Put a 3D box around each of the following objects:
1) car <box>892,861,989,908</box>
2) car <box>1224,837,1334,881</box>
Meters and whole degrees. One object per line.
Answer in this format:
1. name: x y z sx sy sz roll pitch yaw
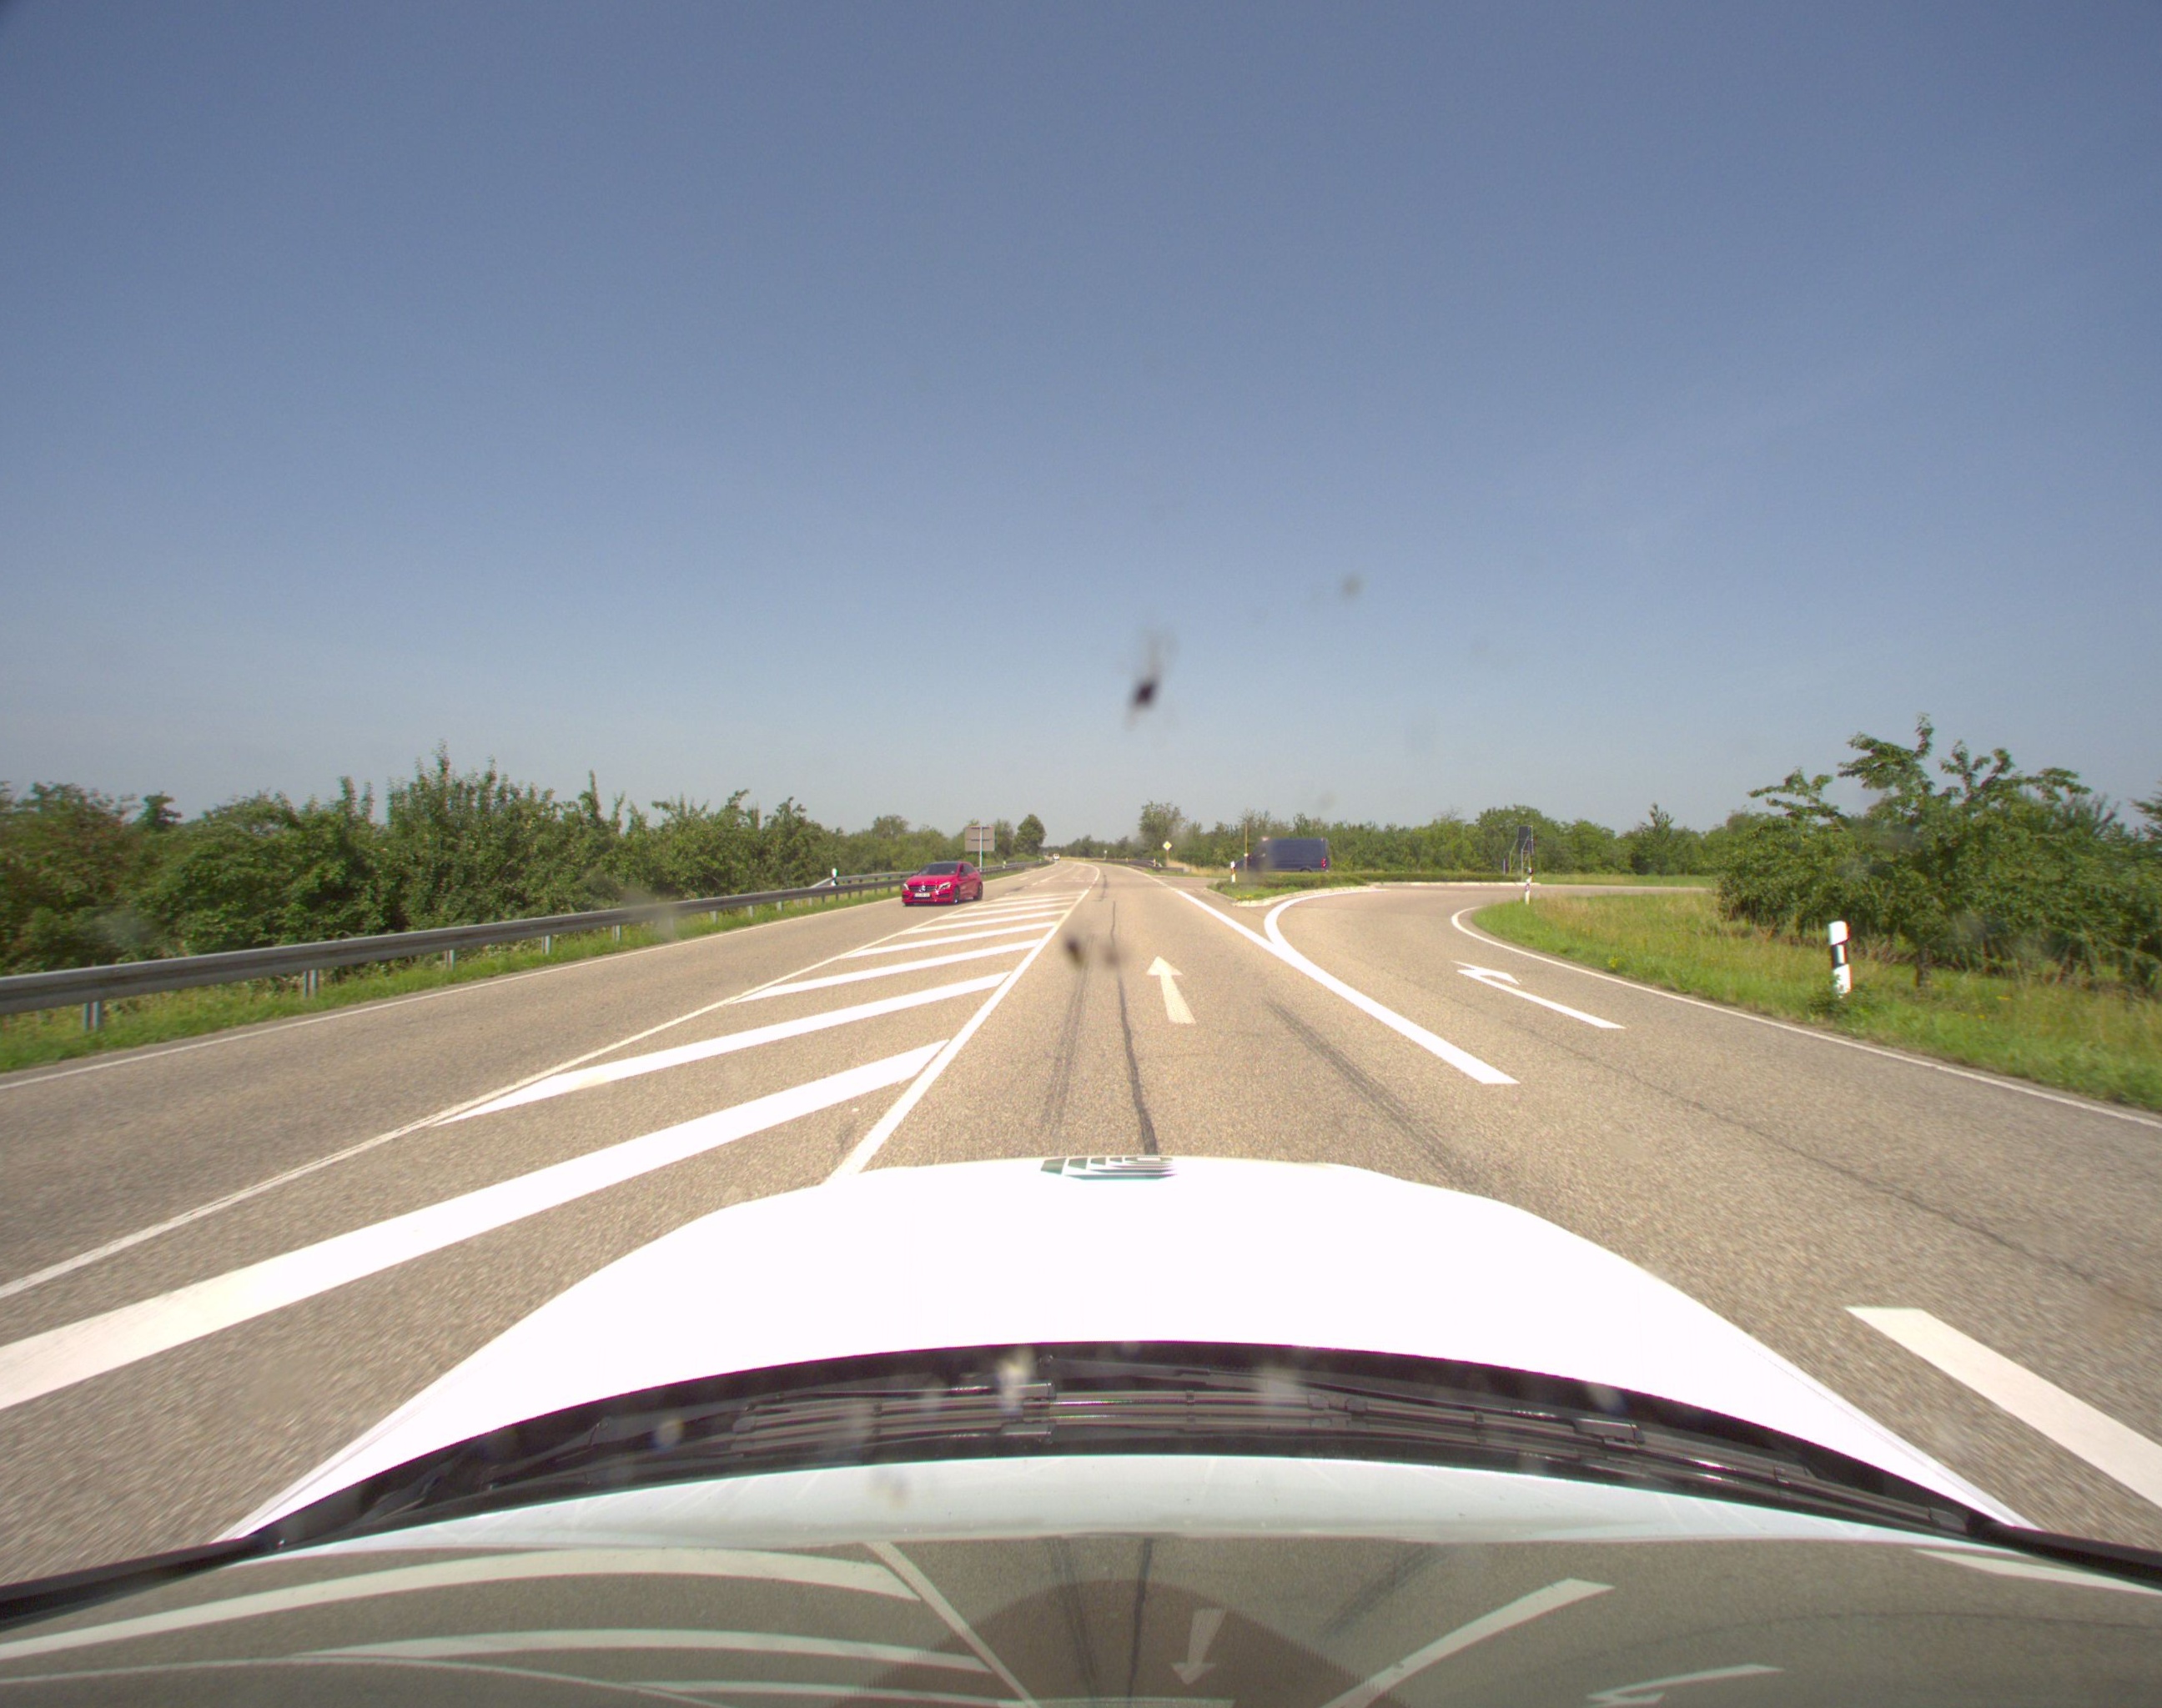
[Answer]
1. car: -4.720 0.983 28.021 1.804 1.449 4.508 -1 -1 10
2. car: 12.218 0.369 50.339 6.234 2.575 2.074 -1 -1 25
